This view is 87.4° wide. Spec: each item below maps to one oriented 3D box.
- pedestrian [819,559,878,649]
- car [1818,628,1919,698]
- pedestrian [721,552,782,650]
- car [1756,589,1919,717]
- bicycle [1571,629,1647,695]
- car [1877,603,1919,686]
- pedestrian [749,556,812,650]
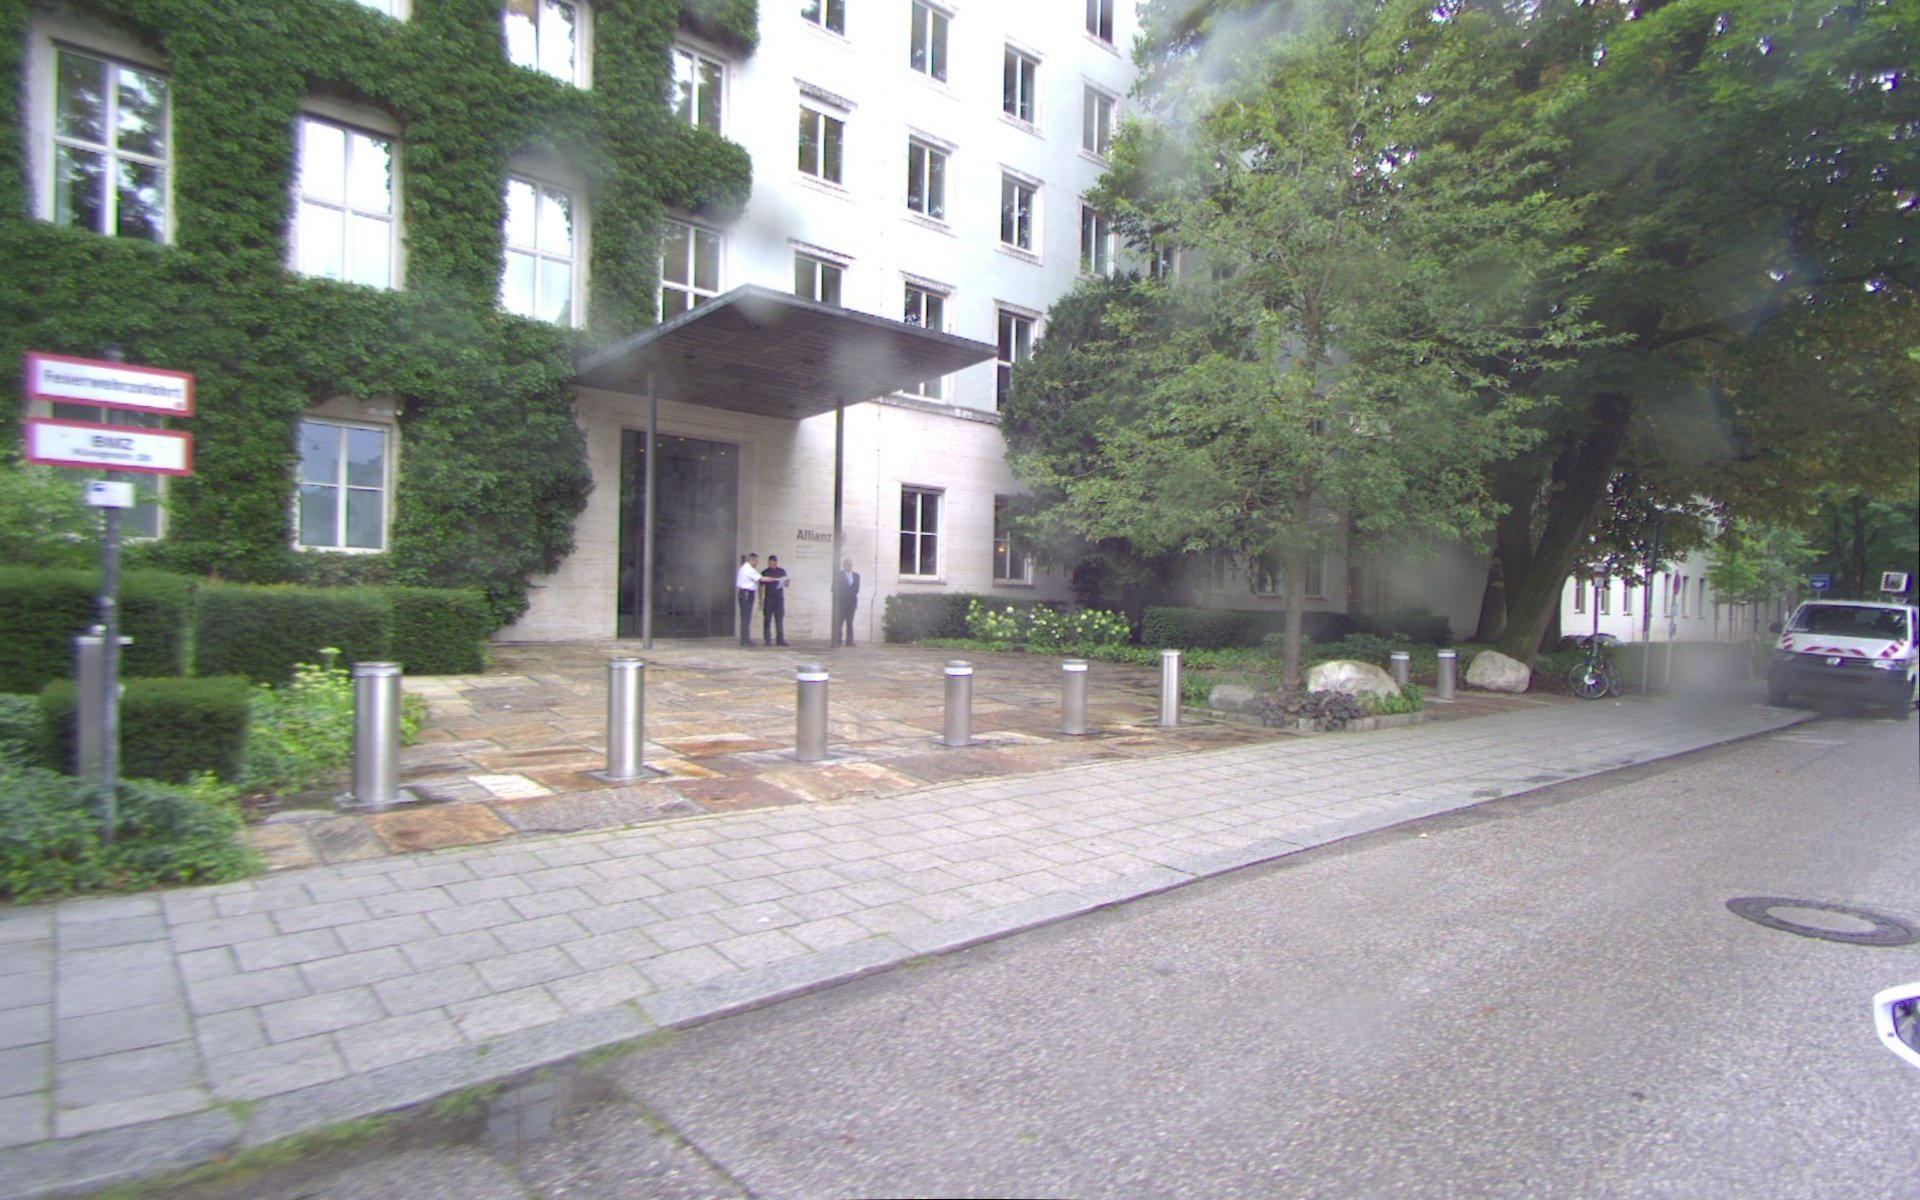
[{"bbox_3d":[-2.266,0.090,20.427,0.742,1.776,0.895,1,-1,45],"label":"pedestrian"},{"bbox_3d":[20.864,1.363,22.417,3.921,1.347,2.191,1,1,-44],"label":"car"},{"bbox_3d":[-3.920,0.019,18.863,0.747,1.776,0.889,1,0,-44],"label":"pedestrian"},{"bbox_3d":[16.525,0.880,18.460,5.416,1.983,2.226,1,1,-44],"label":"car"},{"bbox_3d":[11.843,1.115,18.310,1.752,1.117,0.627,2,1,-39],"label":"bicycle"},{"bbox_3d":[25.412,1.154,25.953,5.131,1.983,2.162,1,1,-44],"label":"car"},{"bbox_3d":[-3.500,0.069,19.611,0.742,1.776,0.895,1,-1,45],"label":"pedestrian"}]
